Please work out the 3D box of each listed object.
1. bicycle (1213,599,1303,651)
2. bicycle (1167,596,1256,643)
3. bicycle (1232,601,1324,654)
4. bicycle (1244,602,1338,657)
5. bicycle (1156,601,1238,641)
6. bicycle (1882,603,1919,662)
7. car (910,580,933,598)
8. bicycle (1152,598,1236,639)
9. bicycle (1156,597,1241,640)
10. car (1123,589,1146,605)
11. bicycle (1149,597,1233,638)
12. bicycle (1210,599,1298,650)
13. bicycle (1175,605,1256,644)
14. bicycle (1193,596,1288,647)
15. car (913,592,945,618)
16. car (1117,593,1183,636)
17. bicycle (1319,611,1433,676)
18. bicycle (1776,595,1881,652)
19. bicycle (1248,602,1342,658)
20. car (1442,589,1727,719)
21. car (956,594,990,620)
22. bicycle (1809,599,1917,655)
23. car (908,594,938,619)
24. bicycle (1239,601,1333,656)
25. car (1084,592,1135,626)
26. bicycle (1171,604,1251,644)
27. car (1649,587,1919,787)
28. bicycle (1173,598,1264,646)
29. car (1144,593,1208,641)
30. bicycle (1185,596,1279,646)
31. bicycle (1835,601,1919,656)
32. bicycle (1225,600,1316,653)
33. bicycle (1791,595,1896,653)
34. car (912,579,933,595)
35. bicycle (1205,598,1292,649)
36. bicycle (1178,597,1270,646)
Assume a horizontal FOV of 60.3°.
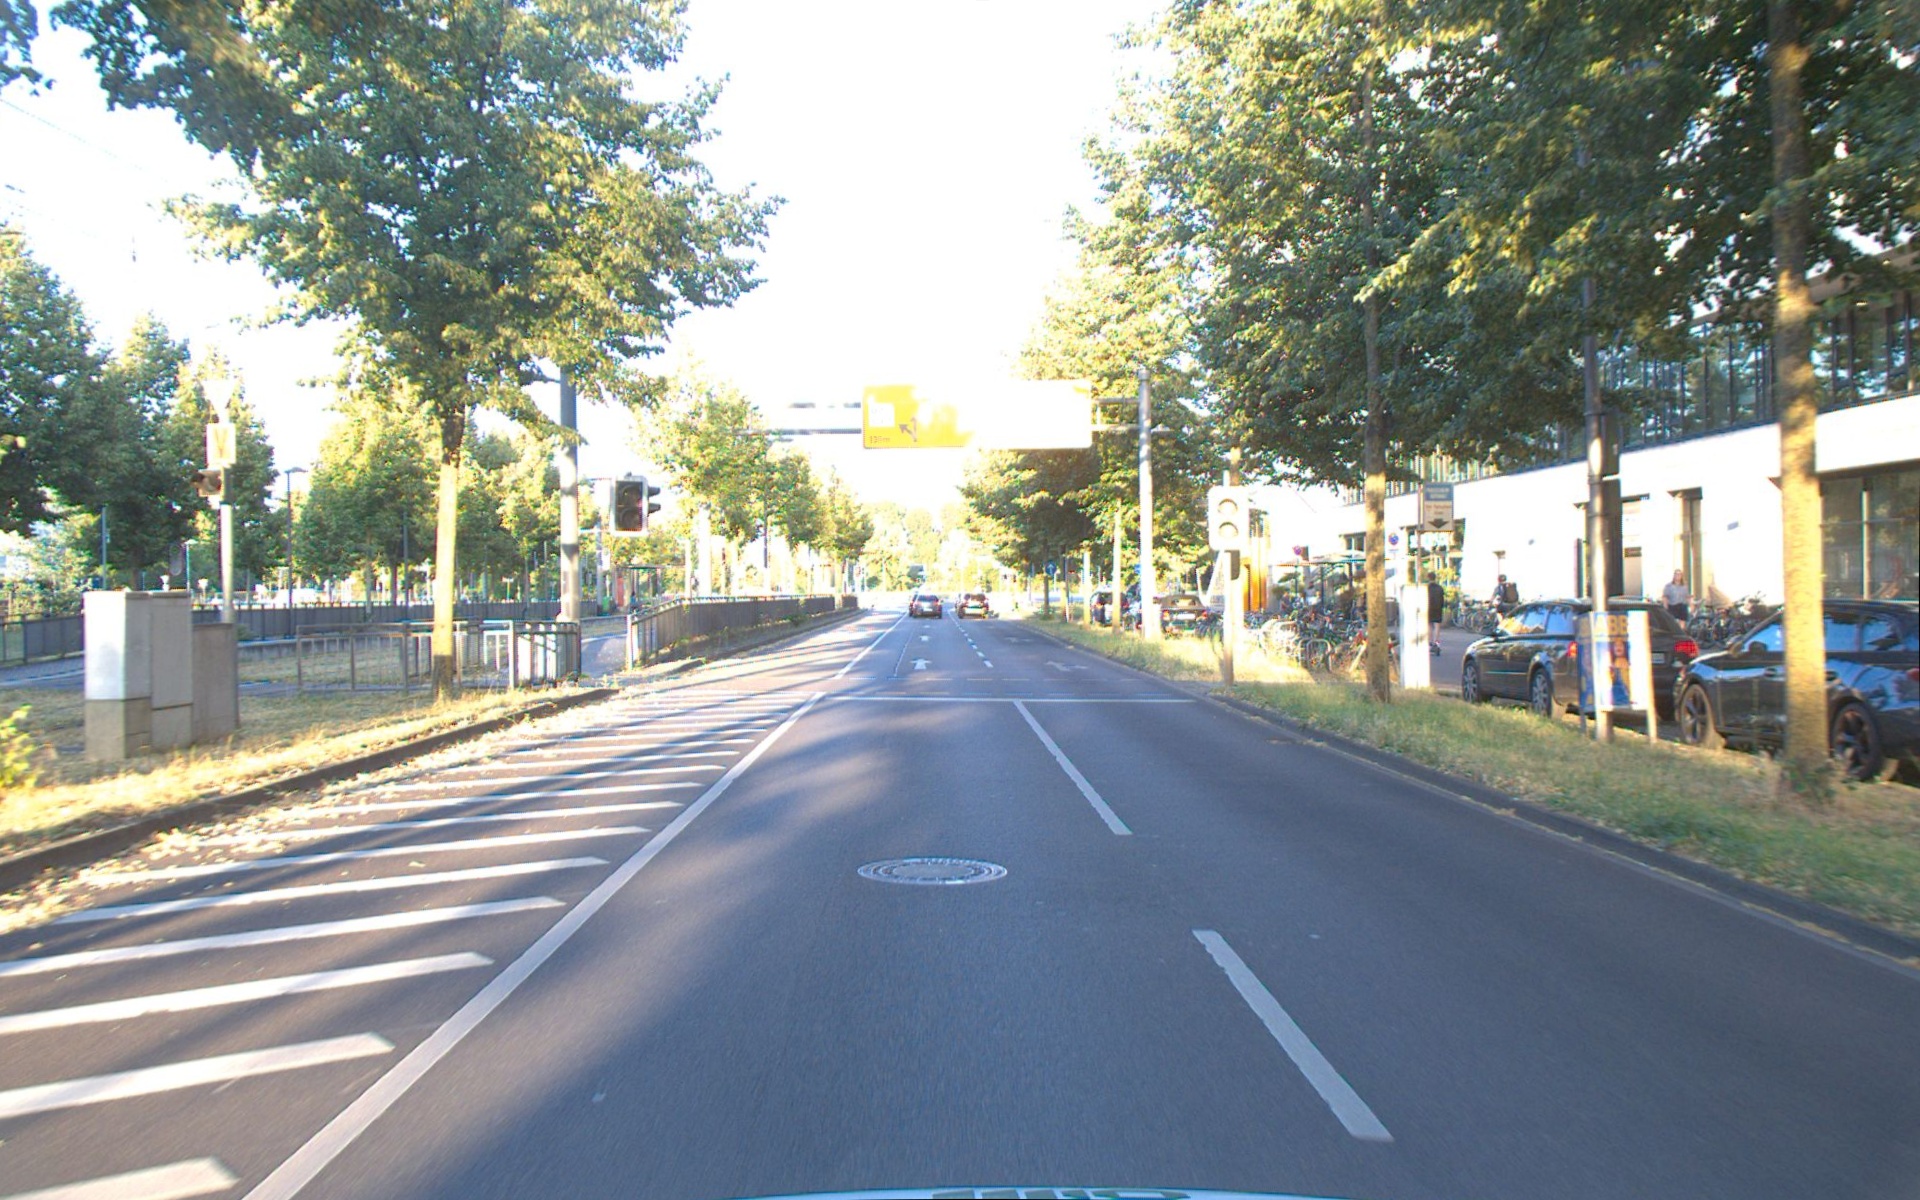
[{"bbox_3d":[6.725,0.572,37.325,1.904,1.072,0.404,3,0,-5],"label":"bicycle"},{"bbox_3d":[6.280,0.491,41.294,2.102,1.072,0.524,3,0,-8],"label":"bicycle"},{"bbox_3d":[6.946,0.602,36.108,1.906,1.072,0.413,3,0,-9],"label":"bicycle"},{"bbox_3d":[7.028,0.622,35.099,1.906,1.072,0.347,3,0,-9],"label":"bicycle"},{"bbox_3d":[6.332,0.564,44.251,2.102,0.956,0.442,3,0,-8],"label":"bicycle"},{"bbox_3d":[16.992,0.558,28.880,1.543,1.004,0.404,-1,0,-1],"label":"bicycle"},{"bbox_3d":[-3.255,-0.937,139.102,1.873,1.512,3.999,-1,0,-2],"label":"car"},{"bbox_3d":[6.109,0.473,43.216,2.102,0.956,0.442,3,0,-8],"label":"bicycle"},{"bbox_3d":[6.149,0.485,42.702,2.102,0.990,0.442,3,0,-8],"label":"bicycle"},{"bbox_3d":[20.095,-0.323,190.082,1.951,1.758,4.003,-1,0,17],"label":"car"},{"bbox_3d":[6.104,0.460,43.723,2.102,0.956,0.451,3,0,-8],"label":"bicycle"},{"bbox_3d":[6.709,0.566,37.803,1.905,1.072,0.404,3,0,-8],"label":"bicycle"},{"bbox_3d":[7.054,0.675,45.711,2.102,0.956,0.544,3,0,-8],"label":"bicycle"},{"bbox_3d":[6.575,0.506,38.802,2.102,1.072,0.570,3,0,-8],"label":"bicycle"},{"bbox_3d":[-1.860,0.295,98.195,1.873,1.512,3.999,-1,0,-2],"label":"car"},{"bbox_3d":[6.950,0.508,60.851,1.742,1.498,4.286,-1,0,-3],"label":"car"},{"bbox_3d":[7.553,0.784,30.057,1.903,1.072,0.545,3,0,-2],"label":"bicycle"},{"bbox_3d":[16.795,0.443,31.997,1.793,1.065,0.445,-1,0,-1],"label":"bicycle"},{"bbox_3d":[7.035,0.630,34.739,1.906,1.072,0.314,3,0,-9],"label":"bicycle"},{"bbox_3d":[7.704,0.601,20.937,1.831,1.436,4.646,-1,0,0],"label":"car"},{"bbox_3d":[0.754,0.419,99.162,1.873,1.512,3.999,0,0,-2],"label":"car"},{"bbox_3d":[16.804,0.493,30.793,1.793,1.004,0.404,-1,0,-1],"label":"bicycle"},{"bbox_3d":[-2.340,0.412,104.636,1.873,1.512,3.999,-1,0,-2],"label":"car"},{"bbox_3d":[7.008,0.614,35.571,1.906,1.072,0.413,3,0,-9],"label":"bicycle"},{"bbox_3d":[6.819,0.372,75.938,1.722,1.491,4.156,-1,0,-3],"label":"car"},{"bbox_3d":[6.859,0.656,45.181,2.102,0.956,0.442,3,0,-8],"label":"bicycle"},{"bbox_3d":[8.030,0.641,14.576,1.773,1.497,4.662,-1,0,-3],"label":"car"},{"bbox_3d":[6.355,0.531,40.710,2.102,1.072,0.524,3,0,-8],"label":"bicycle"},{"bbox_3d":[7.009,0.515,53.860,1.543,1.498,3.881,-1,0,0],"label":"car"},{"bbox_3d":[6.484,0.507,39.491,2.102,1.072,0.561,3,0,-8],"label":"bicycle"},{"bbox_3d":[16.898,0.507,30.125,1.708,0.969,0.404,-1,0,-1],"label":"bicycle"},{"bbox_3d":[6.887,0.590,36.723,1.906,1.072,0.413,3,0,-9],"label":"bicycle"},{"bbox_3d":[16.828,0.446,31.511,1.793,1.075,0.404,-1,0,-1],"label":"bicycle"},{"bbox_3d":[-3.534,-1.217,155.905,1.873,1.512,3.999,-1,0,-2],"label":"car"},{"bbox_3d":[6.681,0.544,38.267,1.905,1.072,0.404,3,0,-8],"label":"bicycle"},{"bbox_3d":[6.401,0.510,40.117,2.102,1.072,0.570,3,0,-8],"label":"bicycle"}]
